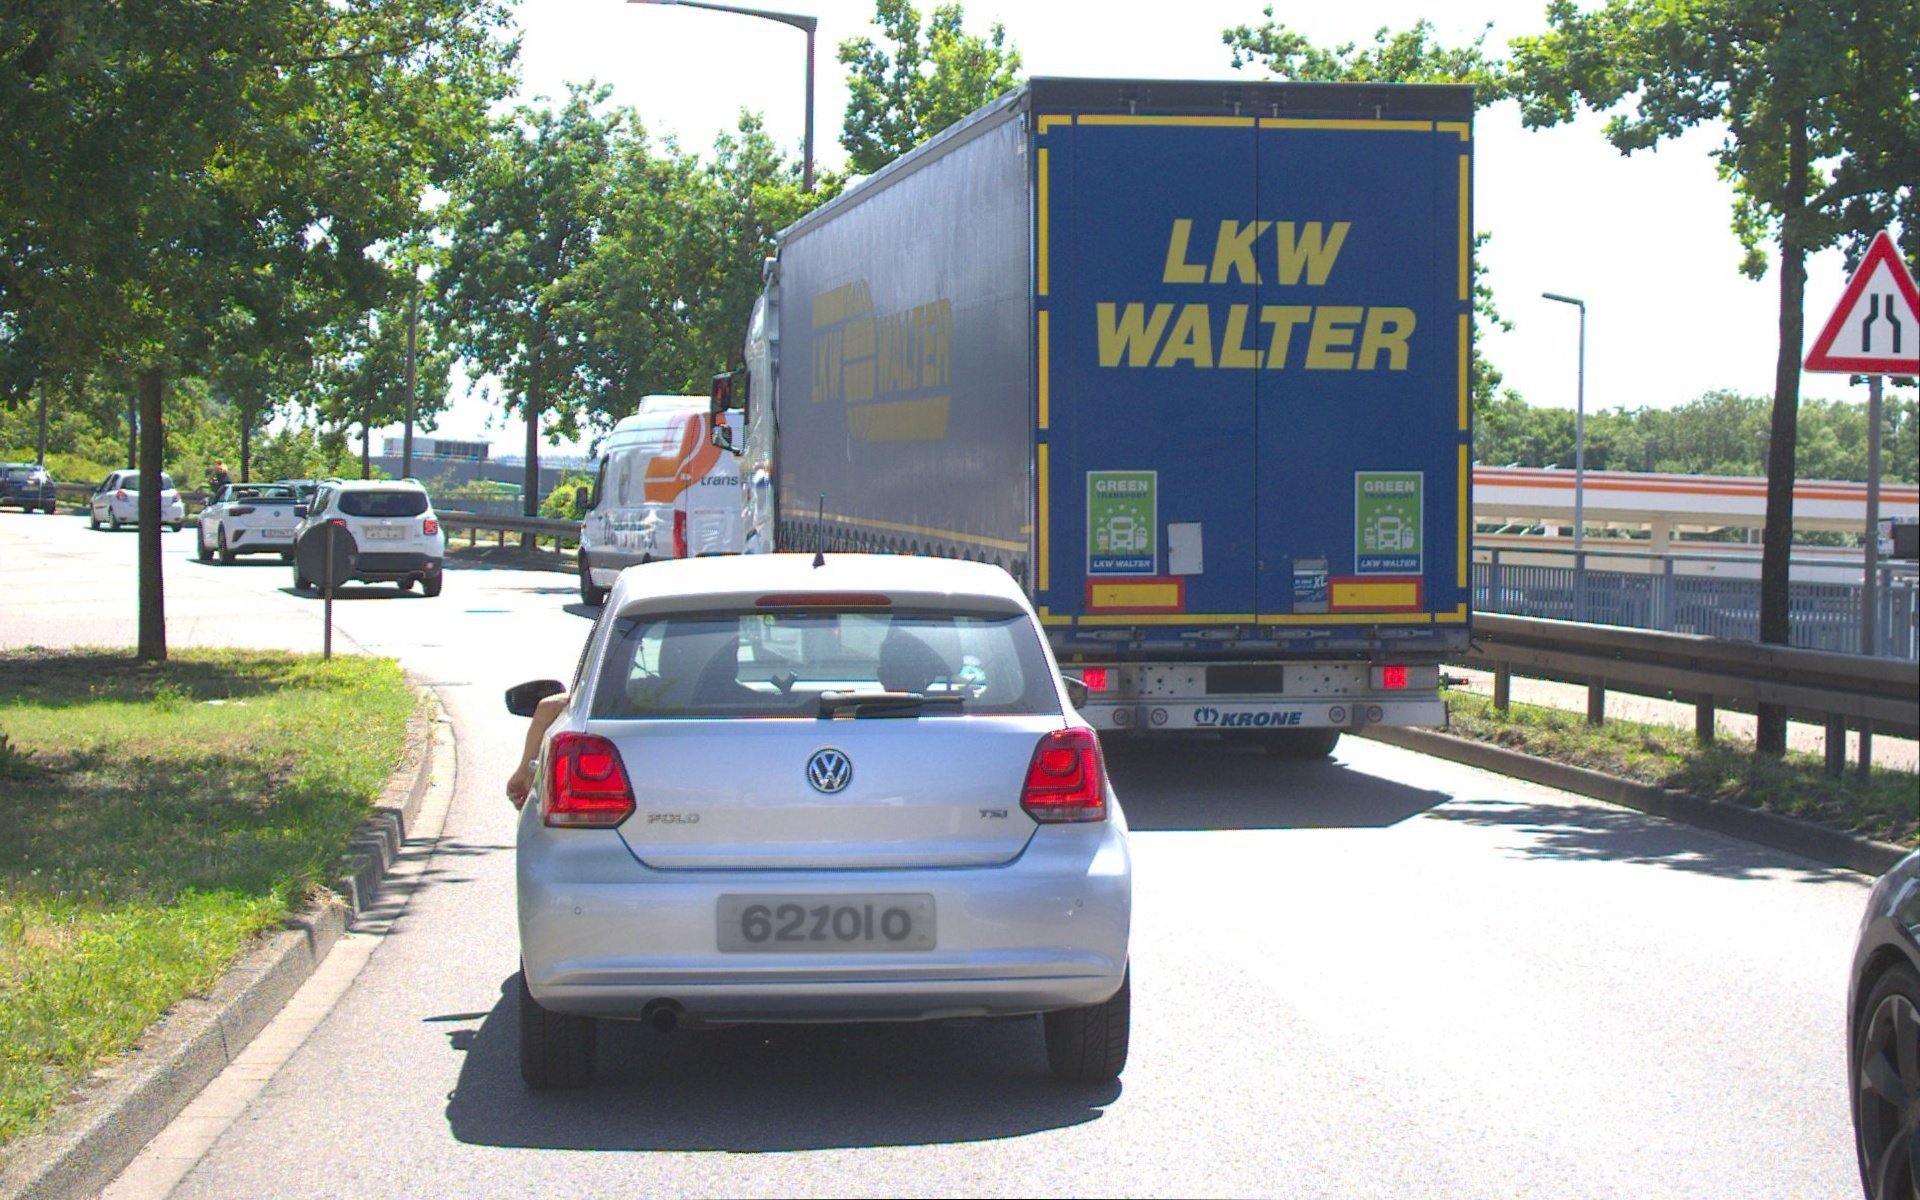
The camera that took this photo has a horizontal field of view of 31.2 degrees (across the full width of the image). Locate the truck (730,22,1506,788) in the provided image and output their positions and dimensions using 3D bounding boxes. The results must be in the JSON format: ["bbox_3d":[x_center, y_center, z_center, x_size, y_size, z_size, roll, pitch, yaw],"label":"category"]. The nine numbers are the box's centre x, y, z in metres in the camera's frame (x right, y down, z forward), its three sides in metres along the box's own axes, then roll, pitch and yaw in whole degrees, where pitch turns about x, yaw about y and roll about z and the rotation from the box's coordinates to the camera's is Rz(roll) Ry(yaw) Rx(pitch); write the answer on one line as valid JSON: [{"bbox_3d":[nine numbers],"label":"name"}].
[{"bbox_3d":[0.355,-1.249,27.251,2.832,4.184,16.479,1,1,-9],"label":"truck"}]

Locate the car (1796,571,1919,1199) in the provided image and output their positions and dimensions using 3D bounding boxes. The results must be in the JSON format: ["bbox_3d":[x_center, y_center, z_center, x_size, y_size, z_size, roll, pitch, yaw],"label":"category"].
[{"bbox_3d":[2.771,0.695,5.430,1.604,1.451,4.236,1,0,-4],"label":"car"}]

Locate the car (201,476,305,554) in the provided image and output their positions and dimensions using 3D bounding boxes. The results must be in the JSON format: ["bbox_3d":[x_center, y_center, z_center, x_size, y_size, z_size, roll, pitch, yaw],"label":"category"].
[{"bbox_3d":[-12.961,-1.565,62.915,1.494,1.355,3.664,1,1,-17],"label":"car"}]

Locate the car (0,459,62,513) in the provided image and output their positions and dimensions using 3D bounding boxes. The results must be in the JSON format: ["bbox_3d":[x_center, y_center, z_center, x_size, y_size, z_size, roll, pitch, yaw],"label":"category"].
[{"bbox_3d":[-26.943,-3.286,99.383,1.664,1.460,3.582,1,0,-18],"label":"car"}]

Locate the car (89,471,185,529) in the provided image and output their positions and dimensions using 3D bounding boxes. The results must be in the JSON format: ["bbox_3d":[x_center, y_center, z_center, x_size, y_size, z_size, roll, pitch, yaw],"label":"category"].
[{"bbox_3d":[-20.026,-2.431,83.602,1.607,1.355,3.663,1,1,-24],"label":"car"}]

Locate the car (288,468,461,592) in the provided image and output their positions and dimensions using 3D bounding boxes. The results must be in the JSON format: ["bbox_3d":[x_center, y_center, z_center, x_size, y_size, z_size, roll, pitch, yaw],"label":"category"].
[{"bbox_3d":[-8.693,-1.014,50.780,1.903,1.712,4.225,1,0,-18],"label":"car"}]

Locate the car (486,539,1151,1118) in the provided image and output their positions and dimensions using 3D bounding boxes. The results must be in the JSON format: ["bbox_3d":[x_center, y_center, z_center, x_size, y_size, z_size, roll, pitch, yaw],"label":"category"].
[{"bbox_3d":[-0.496,0.563,10.408,1.646,1.434,3.537,1,0,-5],"label":"car"}]

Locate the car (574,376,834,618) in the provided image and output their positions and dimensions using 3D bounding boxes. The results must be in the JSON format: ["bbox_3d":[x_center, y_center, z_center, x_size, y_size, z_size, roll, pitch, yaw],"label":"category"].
[{"bbox_3d":[-3.453,-1.377,44.956,2.175,2.890,6.361,1,2,-15],"label":"car"}]
